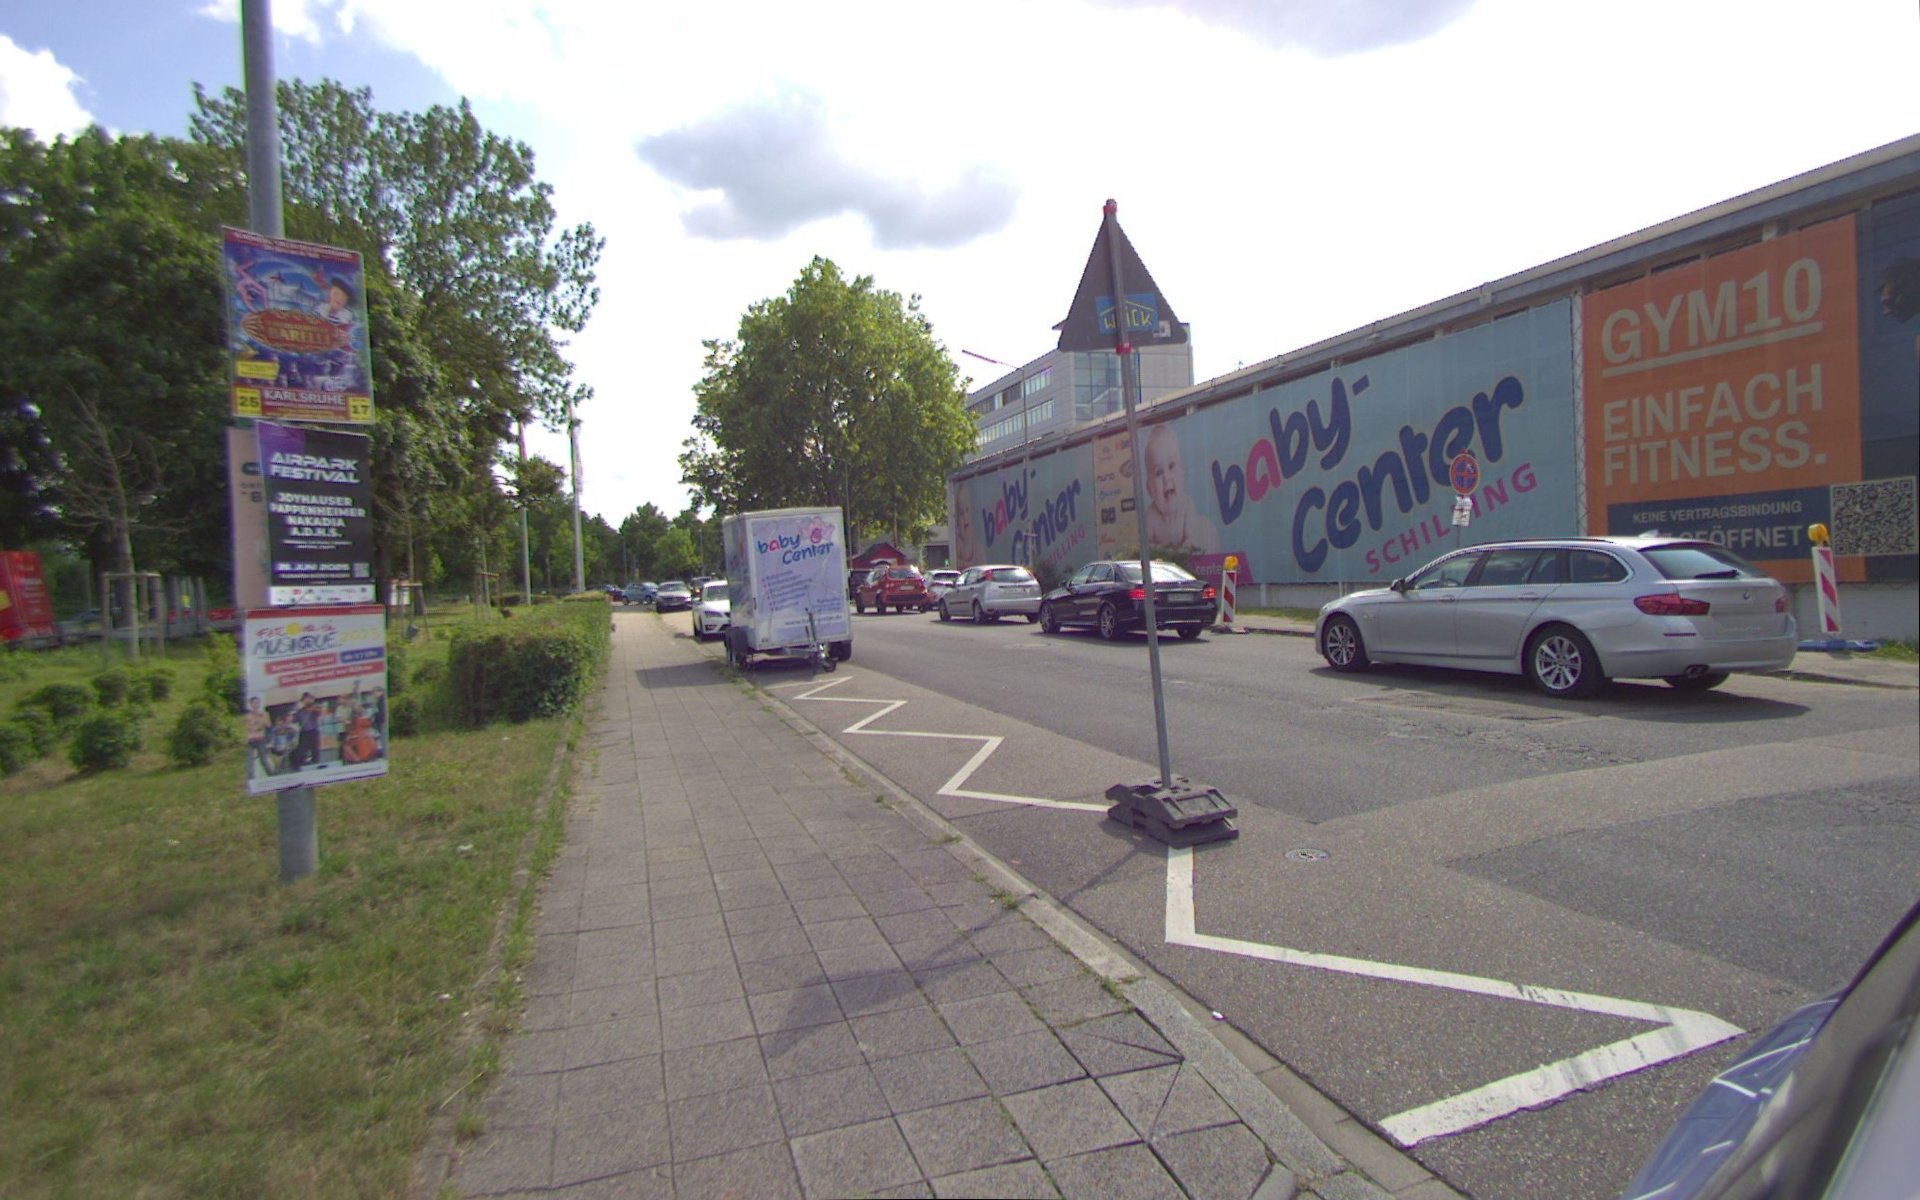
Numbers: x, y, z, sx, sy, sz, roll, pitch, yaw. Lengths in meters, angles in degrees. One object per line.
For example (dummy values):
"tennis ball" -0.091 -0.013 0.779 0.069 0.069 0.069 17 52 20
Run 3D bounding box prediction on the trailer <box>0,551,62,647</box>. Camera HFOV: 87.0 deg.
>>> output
"trailer" -21.743 0.024 22.090 2.738 2.038 1.503 -3 2 -21

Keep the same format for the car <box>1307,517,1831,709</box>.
"car" 5.795 0.029 10.457 1.734 1.498 4.628 -2 2 -17

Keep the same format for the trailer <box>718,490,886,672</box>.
"trailer" -2.733 -0.363 16.606 1.733 2.446 4.287 -6 4 -19

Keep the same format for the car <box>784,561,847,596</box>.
"car" -6.823 -1.016 47.336 1.972 1.421 4.799 -4 3 -19

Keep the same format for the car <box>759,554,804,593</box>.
"car" -10.057 -1.516 56.825 1.958 2.038 4.009 -3 2 -16

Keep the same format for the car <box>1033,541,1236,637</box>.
"car" 3.135 -0.248 19.226 1.815 1.518 4.566 -3 2 -18

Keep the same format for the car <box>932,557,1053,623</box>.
"car" 0.752 -0.288 26.340 1.757 1.508 3.957 -3 2 -19

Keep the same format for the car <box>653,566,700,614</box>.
"car" -13.911 -0.546 49.599 1.959 2.037 4.010 -6 4 -16

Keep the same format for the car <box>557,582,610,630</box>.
"car" -14.665 0.216 39.526 1.684 1.558 3.695 -7 2 -19

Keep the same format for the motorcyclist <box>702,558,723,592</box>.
"motorcyclist" -12.527 -1.266 51.168 0.758 1.616 0.906 -7 4 -21

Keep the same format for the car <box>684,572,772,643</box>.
"car" -6.124 0.152 26.416 1.683 1.558 3.696 -6 3 -19

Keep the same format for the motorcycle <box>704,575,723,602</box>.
"motorcycle" -12.479 -0.573 51.221 0.632 1.260 1.963 -7 3 -20

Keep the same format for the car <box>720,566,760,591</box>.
"car" -15.291 -1.479 70.258 1.959 1.602 4.008 -3 2 -23
